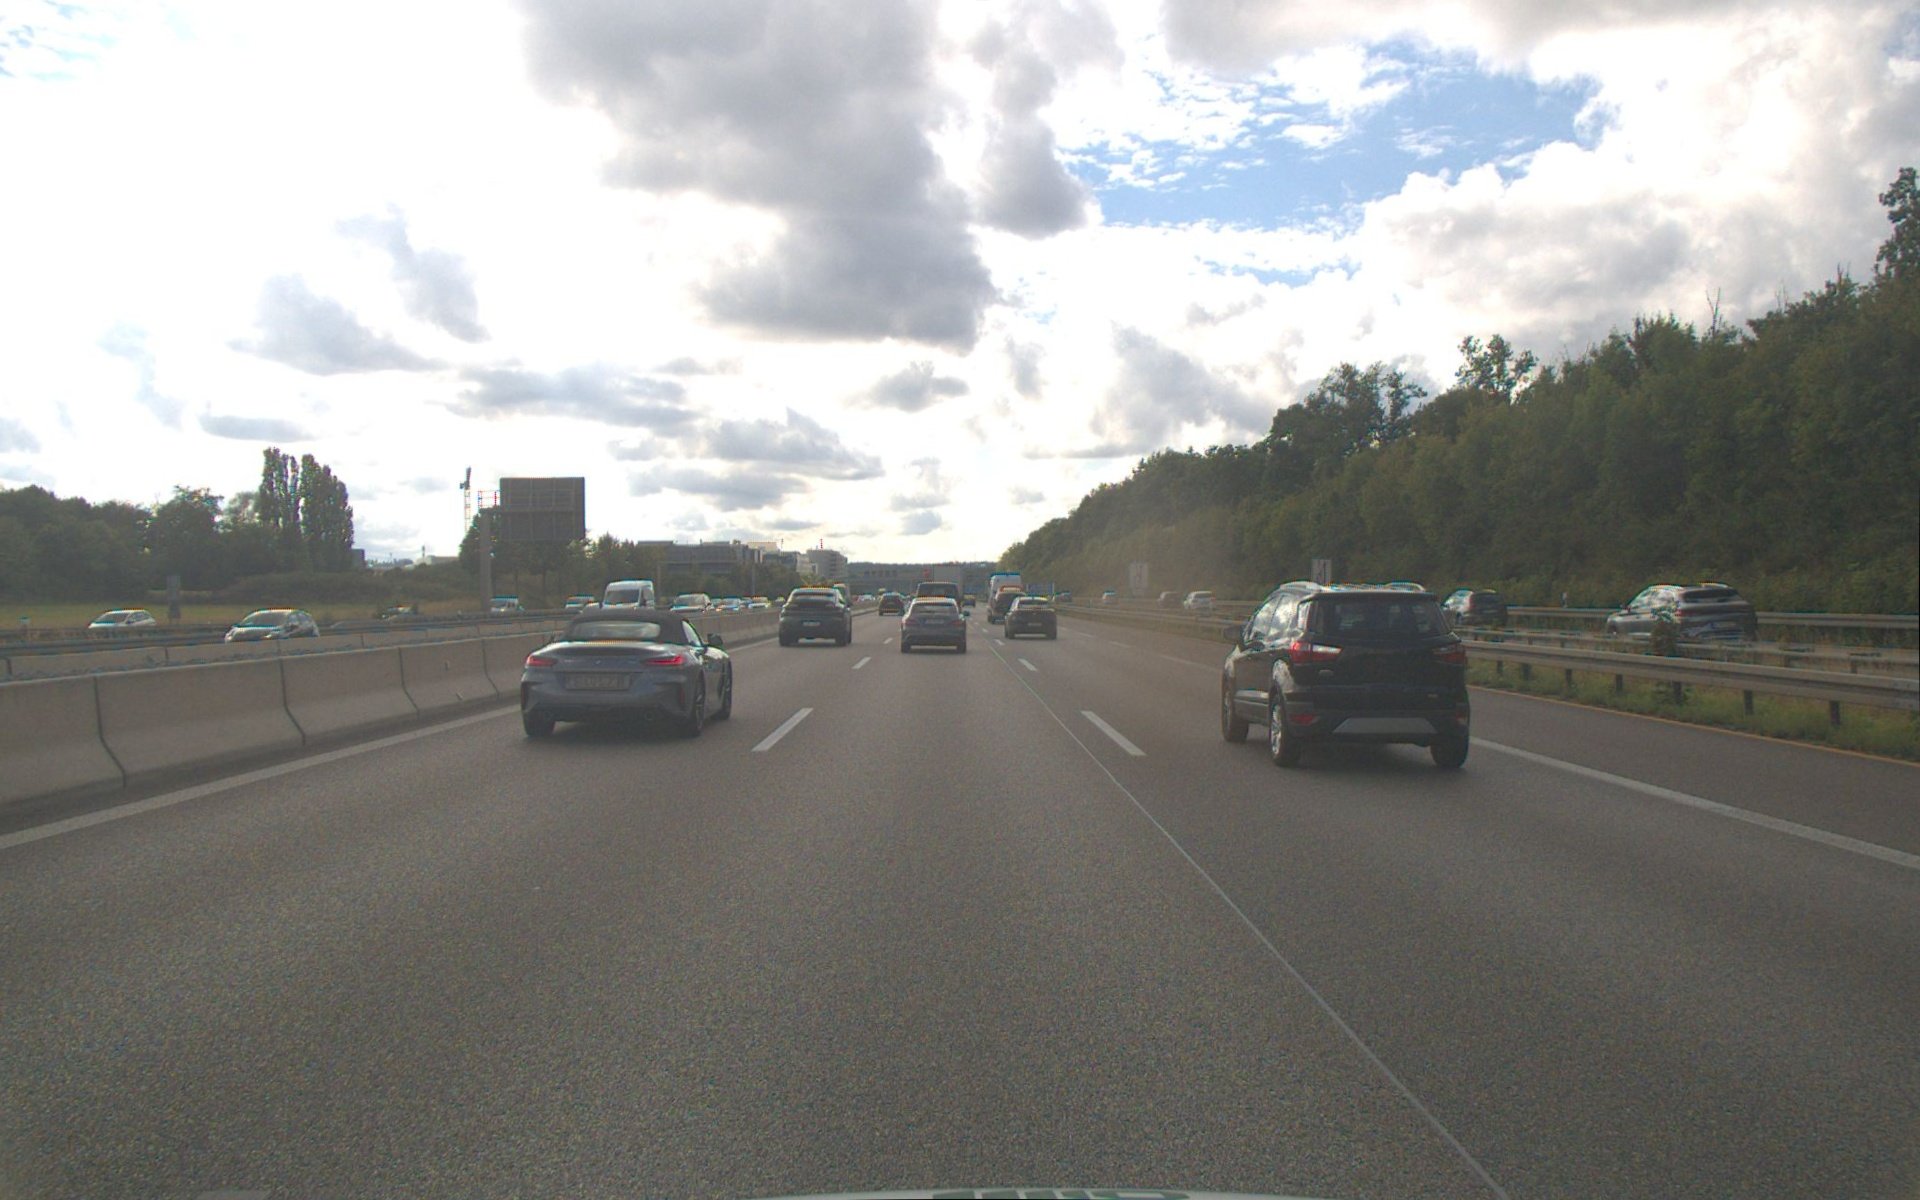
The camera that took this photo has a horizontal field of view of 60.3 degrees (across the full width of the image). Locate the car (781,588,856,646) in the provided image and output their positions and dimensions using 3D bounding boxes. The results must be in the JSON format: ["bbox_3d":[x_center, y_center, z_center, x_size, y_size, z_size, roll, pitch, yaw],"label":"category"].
[{"bbox_3d":[-4.228,0.461,50.177,1.873,1.664,5.499,0,0,-1],"label":"car"}]

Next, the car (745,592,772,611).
[{"bbox_3d":[-17.055,0.132,140.141,1.727,1.559,4.716,0,0,0],"label":"car"}]

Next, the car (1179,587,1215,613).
[{"bbox_3d":[15.804,0.015,110.343,1.716,1.725,4.189,0,0,-1],"label":"car"}]

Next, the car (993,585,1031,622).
[{"bbox_3d":[2.784,0.154,89.203,1.874,1.952,4.030,0,0,-1],"label":"car"}]

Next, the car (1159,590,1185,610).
[{"bbox_3d":[18.691,-0.028,146.134,1.716,1.725,4.189,0,0,-1],"label":"car"}]

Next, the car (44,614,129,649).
[{"bbox_3d":[-40.991,1.466,77.707,1.694,1.560,4.451,0,0,-1],"label":"car"}]

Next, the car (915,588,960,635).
[{"bbox_3d":[-0.858,0.420,64.384,1.686,1.754,4.390,0,0,-1],"label":"car"}]

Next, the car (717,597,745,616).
[{"bbox_3d":[-17.251,0.474,124.822,1.604,1.428,4.490,0,0,-2],"label":"car"}]

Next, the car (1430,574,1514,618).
[{"bbox_3d":[19.501,-0.158,63.209,1.694,1.573,4.304,-2,1,-2],"label":"car"}]

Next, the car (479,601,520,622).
[{"bbox_3d":[-38.369,0.913,137.922,1.953,1.730,5.632,0,0,-2],"label":"car"}]

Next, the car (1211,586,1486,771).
[{"bbox_3d":[3.663,0.664,16.304,1.663,1.592,4.113,0,0,-1],"label":"car"}]

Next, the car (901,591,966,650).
[{"bbox_3d":[-0.714,0.519,44.784,1.686,1.505,4.390,0,0,-1],"label":"car"}]

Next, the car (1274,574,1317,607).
[{"bbox_3d":[19.097,-0.550,94.286,1.563,1.835,3.823,0,0,-2],"label":"car"}]

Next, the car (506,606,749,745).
[{"bbox_3d":[-3.606,0.758,18.842,1.835,1.325,4.941,0,0,-1],"label":"car"}]

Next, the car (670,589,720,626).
[{"bbox_3d":[-12.998,0.343,81.204,1.727,1.761,4.702,1,0,-1],"label":"car"}]

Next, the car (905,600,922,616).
[{"bbox_3d":[-4.716,0.789,167.167,1.663,1.639,4.113,0,0,-1],"label":"car"}]

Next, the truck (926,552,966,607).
[{"bbox_3d":[-1.198,-1.683,139.775,3.196,4.451,11.024,1,0,-1],"label":"truck"}]

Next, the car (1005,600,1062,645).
[{"bbox_3d":[2.605,0.777,59.384,1.795,1.547,4.224,0,0,-1],"label":"car"}]

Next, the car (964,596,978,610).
[{"bbox_3d":[1.407,0.411,212.884,1.716,1.725,4.189,0,0,-1],"label":"car"}]

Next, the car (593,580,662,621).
[{"bbox_3d":[-16.837,0.006,84.050,2.307,2.001,5.833,0,0,0],"label":"car"}]

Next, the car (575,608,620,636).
[{"bbox_3d":[-21.212,1.273,97.006,1.691,1.556,4.863,0,0,-2],"label":"car"}]

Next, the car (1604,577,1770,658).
[{"bbox_3d":[16.515,0.359,37.805,1.809,1.679,4.305,-2,1,-1],"label":"car"}]

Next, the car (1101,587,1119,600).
[{"bbox_3d":[18.205,-0.814,201.026,1.716,1.543,4.189,0,0,-2],"label":"car"}]

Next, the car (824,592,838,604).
[{"bbox_3d":[-18.250,-0.300,233.362,1.743,1.674,4.071,0,0,-1],"label":"car"}]

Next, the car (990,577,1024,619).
[{"bbox_3d":[2.711,-0.144,96.038,1.835,2.399,4.281,0,0,-1],"label":"car"}]

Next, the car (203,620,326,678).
[{"bbox_3d":[-20.469,1.400,48.908,1.727,1.559,4.716,0,0,-1],"label":"car"}]

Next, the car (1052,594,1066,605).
[{"bbox_3d":[14.062,-0.115,235.730,1.694,1.560,4.452,-1,0,-1],"label":"car"}]

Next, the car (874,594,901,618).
[{"bbox_3d":[-5.287,0.398,121.364,1.835,1.727,4.071,0,0,-1],"label":"car"}]
